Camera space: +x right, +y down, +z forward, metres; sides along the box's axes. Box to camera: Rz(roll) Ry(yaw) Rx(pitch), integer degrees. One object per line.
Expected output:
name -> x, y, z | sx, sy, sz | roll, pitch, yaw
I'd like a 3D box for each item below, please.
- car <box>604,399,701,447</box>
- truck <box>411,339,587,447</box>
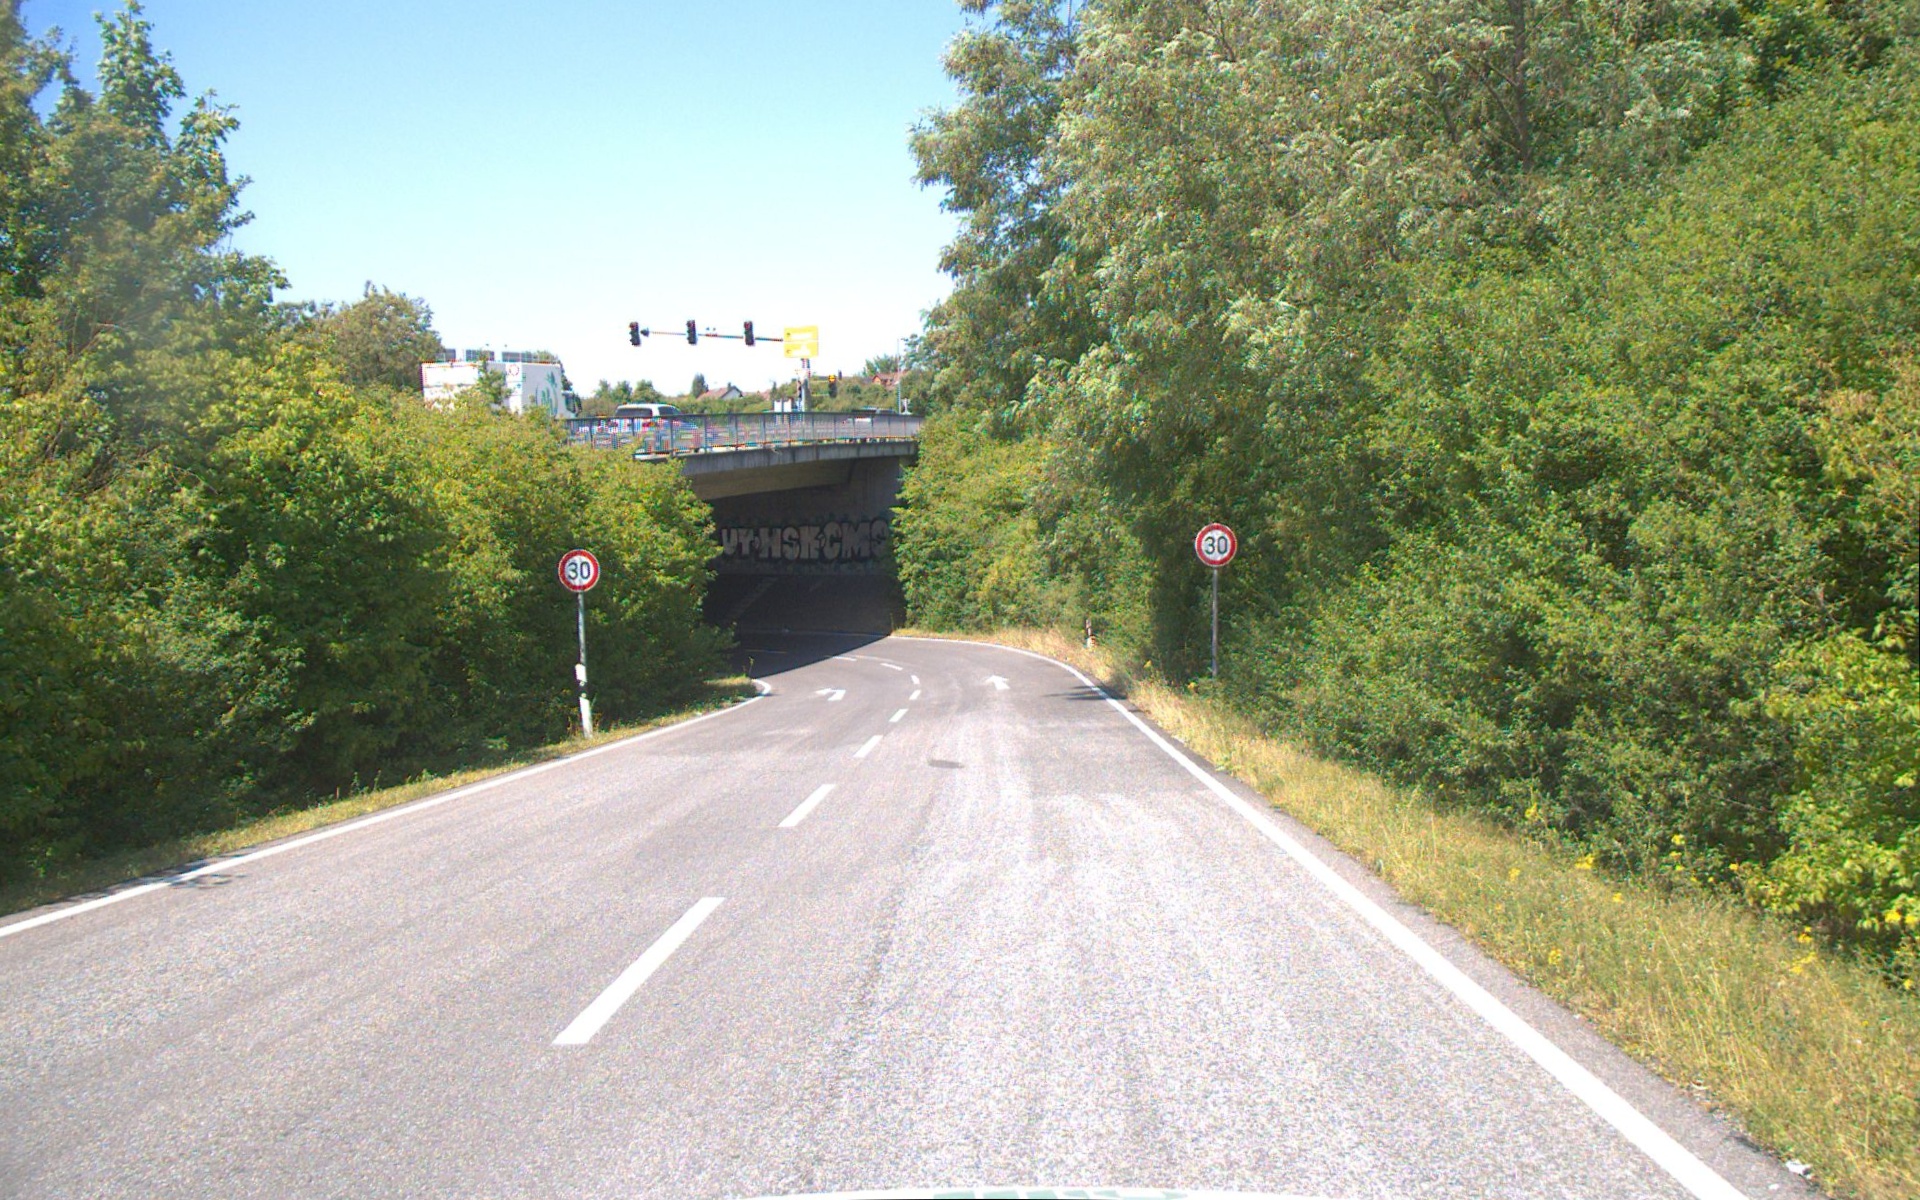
car -> -9.245, -5.332, 49.980 | 1.577, 1.210, 3.483 | -2, 3, 13
truck -> -18.464, -8.224, 67.019 | 2.962, 3.651, 8.914 | -2, 3, 12
